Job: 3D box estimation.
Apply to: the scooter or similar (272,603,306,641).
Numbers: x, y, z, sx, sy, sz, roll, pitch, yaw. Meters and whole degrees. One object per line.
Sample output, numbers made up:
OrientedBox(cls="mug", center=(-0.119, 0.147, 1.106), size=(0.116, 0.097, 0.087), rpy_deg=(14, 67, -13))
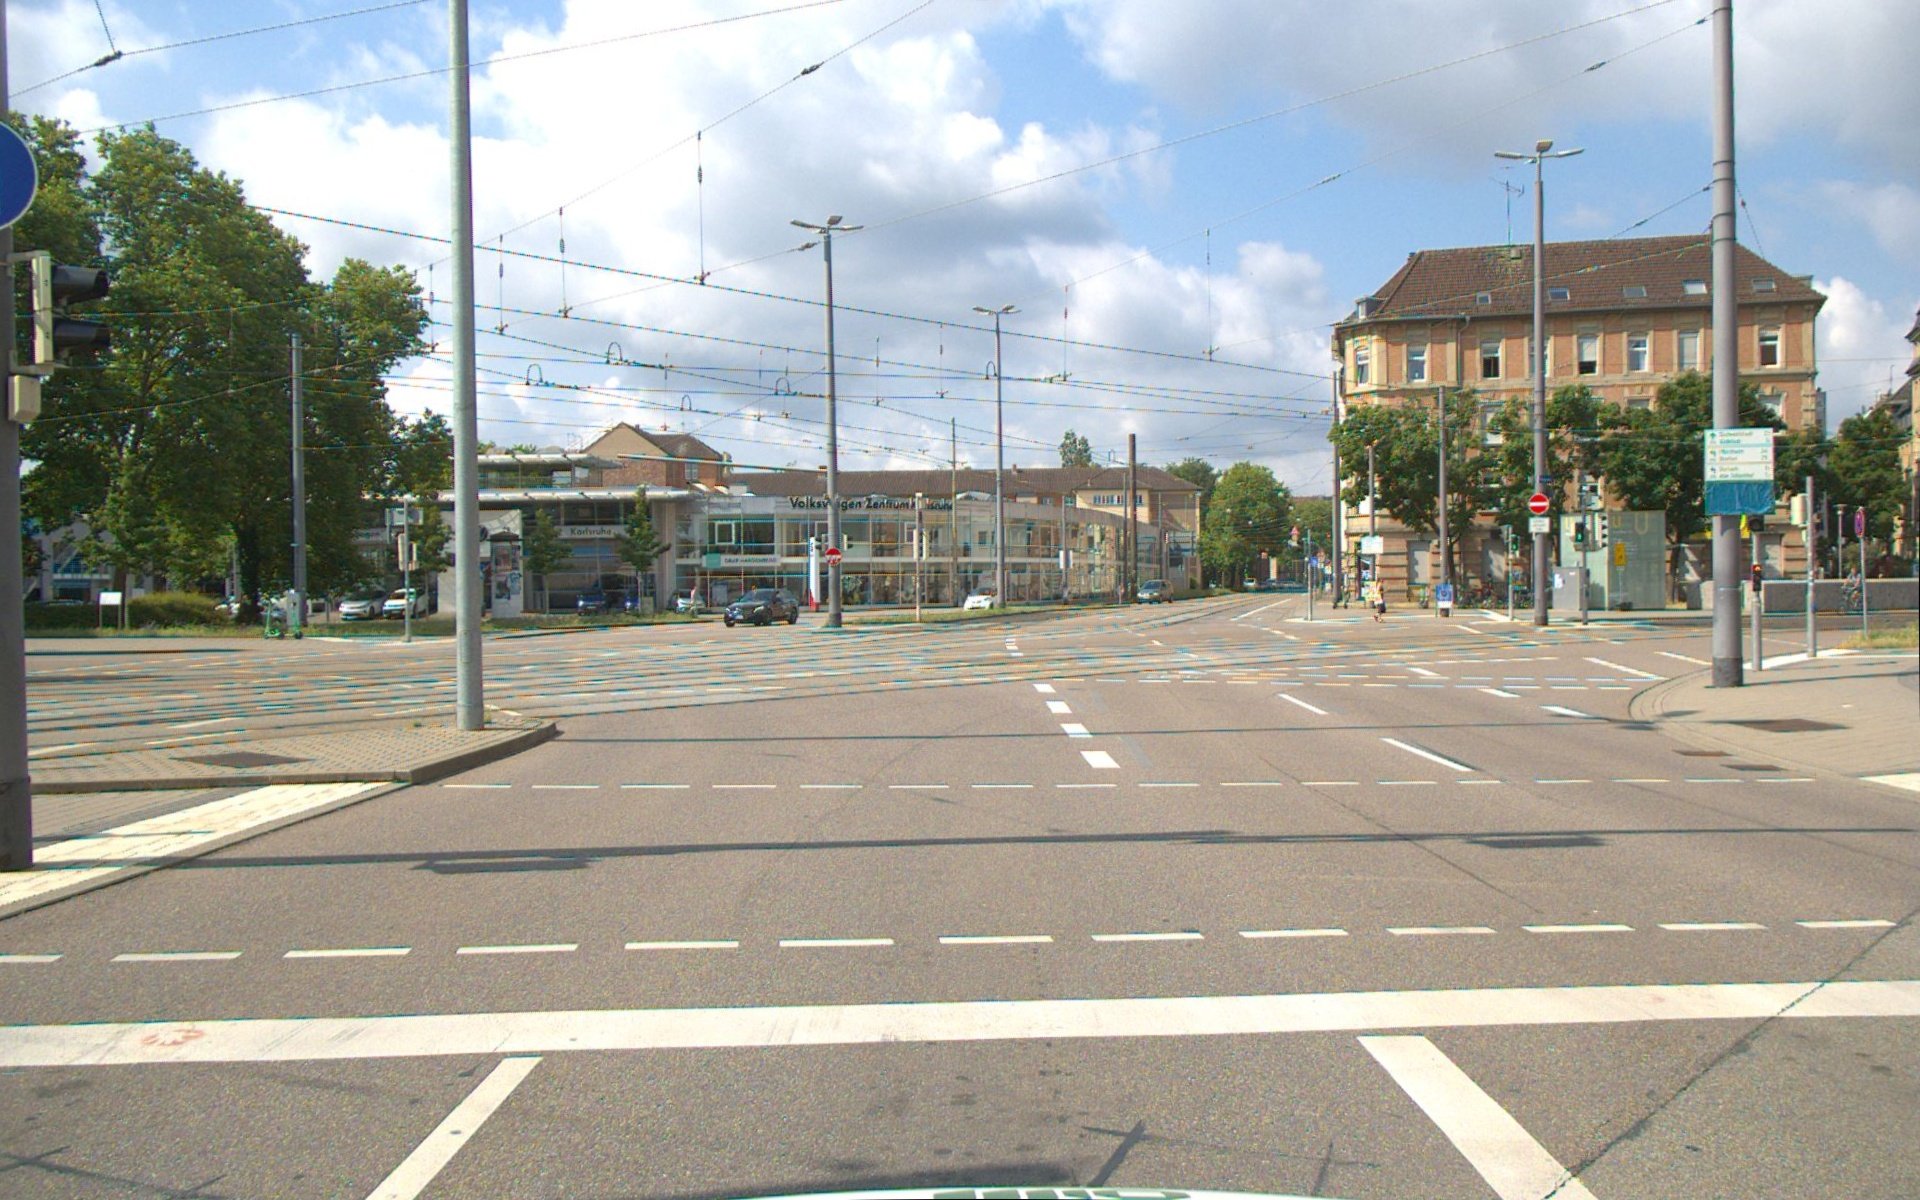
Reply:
OrientedBox(cls="scooter or similar", center=(-21.991, 0.728, 54.201), size=(1.040, 1.217, 0.381), rpy_deg=(1, -1, 25))

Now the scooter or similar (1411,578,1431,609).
OrientedBox(cls="scooter or similar", center=(22.861, -0.310, 82.072), size=(0.859, 1.508, 2.016), rpy_deg=(-1, 0, 13))

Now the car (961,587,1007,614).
OrientedBox(cls="car", center=(1.448, 0.040, 97.303), size=(1.650, 1.495, 3.657), rpy_deg=(1, 0, 19))

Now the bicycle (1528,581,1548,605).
OrientedBox(cls="bicycle", center=(28.329, -0.348, 81.078), size=(0.742, 1.186, 2.687), rpy_deg=(-1, 0, 15))

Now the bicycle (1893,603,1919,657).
OrientedBox(cls="bicycle", center=(16.986, 0.520, 28.759), size=(0.742, 0.890, 1.811), rpy_deg=(-3, 1, 11))

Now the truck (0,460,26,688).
OrientedBox(cls="truck", center=(-21.215, -0.528, 29.496), size=(7.873, 4.079, 2.839), rpy_deg=(1, -1, 10))

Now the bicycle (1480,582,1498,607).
OrientedBox(cls="bicycle", center=(26.162, -0.277, 81.853), size=(0.742, 1.186, 2.687), rpy_deg=(0, 1, 15))

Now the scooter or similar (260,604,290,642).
OrientedBox(cls="scooter or similar", center=(-22.212, 0.732, 53.635), size=(1.043, 1.217, 0.380), rpy_deg=(0, -1, 35))

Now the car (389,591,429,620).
OrientedBox(cls="car", center=(-33.888, 0.303, 101.837), size=(1.753, 1.712, 3.990), rpy_deg=(-1, 0, -10))

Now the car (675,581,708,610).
OrientedBox(cls="car", center=(-16.758, -0.281, 103.030), size=(1.894, 1.713, 3.989), rpy_deg=(1, 0, -11))

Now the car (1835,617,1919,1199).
OrientedBox(cls="car", center=(3.182, 0.768, 1.924), size=(1.722, 1.454, 4.672), rpy_deg=(1, 0, -2))

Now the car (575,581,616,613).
OrientedBox(cls="car", center=(-22.347, -0.167, 101.469), size=(1.955, 1.870, 3.995), rpy_deg=(-2, 0, -6))

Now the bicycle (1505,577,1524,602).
OrientedBox(cls="bicycle", center=(27.284, -0.504, 81.380), size=(0.743, 1.186, 2.686), rpy_deg=(1, 0, 16))

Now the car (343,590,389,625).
OrientedBox(cls="car", center=(-36.361, 0.483, 101.301), size=(1.957, 2.049, 3.990), rpy_deg=(2, -1, -10))

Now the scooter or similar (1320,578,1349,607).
OrientedBox(cls="scooter or similar", center=(19.010, -0.388, 83.919), size=(1.151, 1.410, 2.806), rpy_deg=(1, 0, 7))

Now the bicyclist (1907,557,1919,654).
OrientedBox(cls="bicyclist", center=(16.983, 0.086, 28.762), size=(0.565, 1.701, 0.938), rpy_deg=(-2, 0, 11))

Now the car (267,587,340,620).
OrientedBox(cls="car", center=(-42.879, 0.227, 108.067), size=(3.903, 2.049, 2.001), rpy_deg=(1, -1, 3))

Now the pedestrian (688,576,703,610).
OrientedBox(cls="pedestrian", center=(-15.947, -0.406, 99.681), size=(0.853, 2.049, 0.702), rpy_deg=(-1, 0, -10))

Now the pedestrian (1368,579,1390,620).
OrientedBox(cls="pedestrian", center=(15.687, -0.027, 61.968), size=(0.725, 1.542, 0.545), rpy_deg=(-1, 0, 21))

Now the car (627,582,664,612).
OrientedBox(cls="car", center=(-19.218, -0.165, 101.057), size=(1.956, 1.756, 3.993), rpy_deg=(1, 0, -8))

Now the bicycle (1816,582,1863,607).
OrientedBox(cls="bicycle", center=(36.314, -0.236, 68.287), size=(1.751, 0.973, 0.840), rpy_deg=(-2, -1, -25))

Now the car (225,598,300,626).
OrientedBox(cls="car", center=(-40.474, 0.703, 95.988), size=(3.596, 1.514, 1.672), rpy_deg=(2, 0, -2))

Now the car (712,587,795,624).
OrientedBox(cls="car", center=(-8.183, 0.186, 65.941), size=(1.825, 1.400, 3.943), rpy_deg=(-1, 0, 17))

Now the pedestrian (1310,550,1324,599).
OrientedBox(cls="pedestrian", center=(23.203, -1.649, 107.552), size=(0.710, 3.130, 0.887), rpy_deg=(1, -1, 22))

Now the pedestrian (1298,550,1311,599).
OrientedBox(cls="pedestrian", center=(22.475, -1.658, 107.866), size=(0.652, 3.175, 0.887), rpy_deg=(1, -1, 22))

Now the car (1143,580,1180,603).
OrientedBox(cls="car", center=(14.644, -0.627, 119.923), size=(1.952, 1.601, 3.738), rpy_deg=(-1, 0, 19))

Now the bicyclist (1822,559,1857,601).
OrientedBox(cls="bicyclist", center=(36.282, -0.820, 68.247), size=(1.124, 1.704, 0.614), rpy_deg=(0, 0, -10))

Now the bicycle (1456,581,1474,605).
OrientedBox(cls="bicycle", center=(25.122, -0.349, 82.243), size=(0.742, 1.186, 2.687), rpy_deg=(-1, 0, 15))
